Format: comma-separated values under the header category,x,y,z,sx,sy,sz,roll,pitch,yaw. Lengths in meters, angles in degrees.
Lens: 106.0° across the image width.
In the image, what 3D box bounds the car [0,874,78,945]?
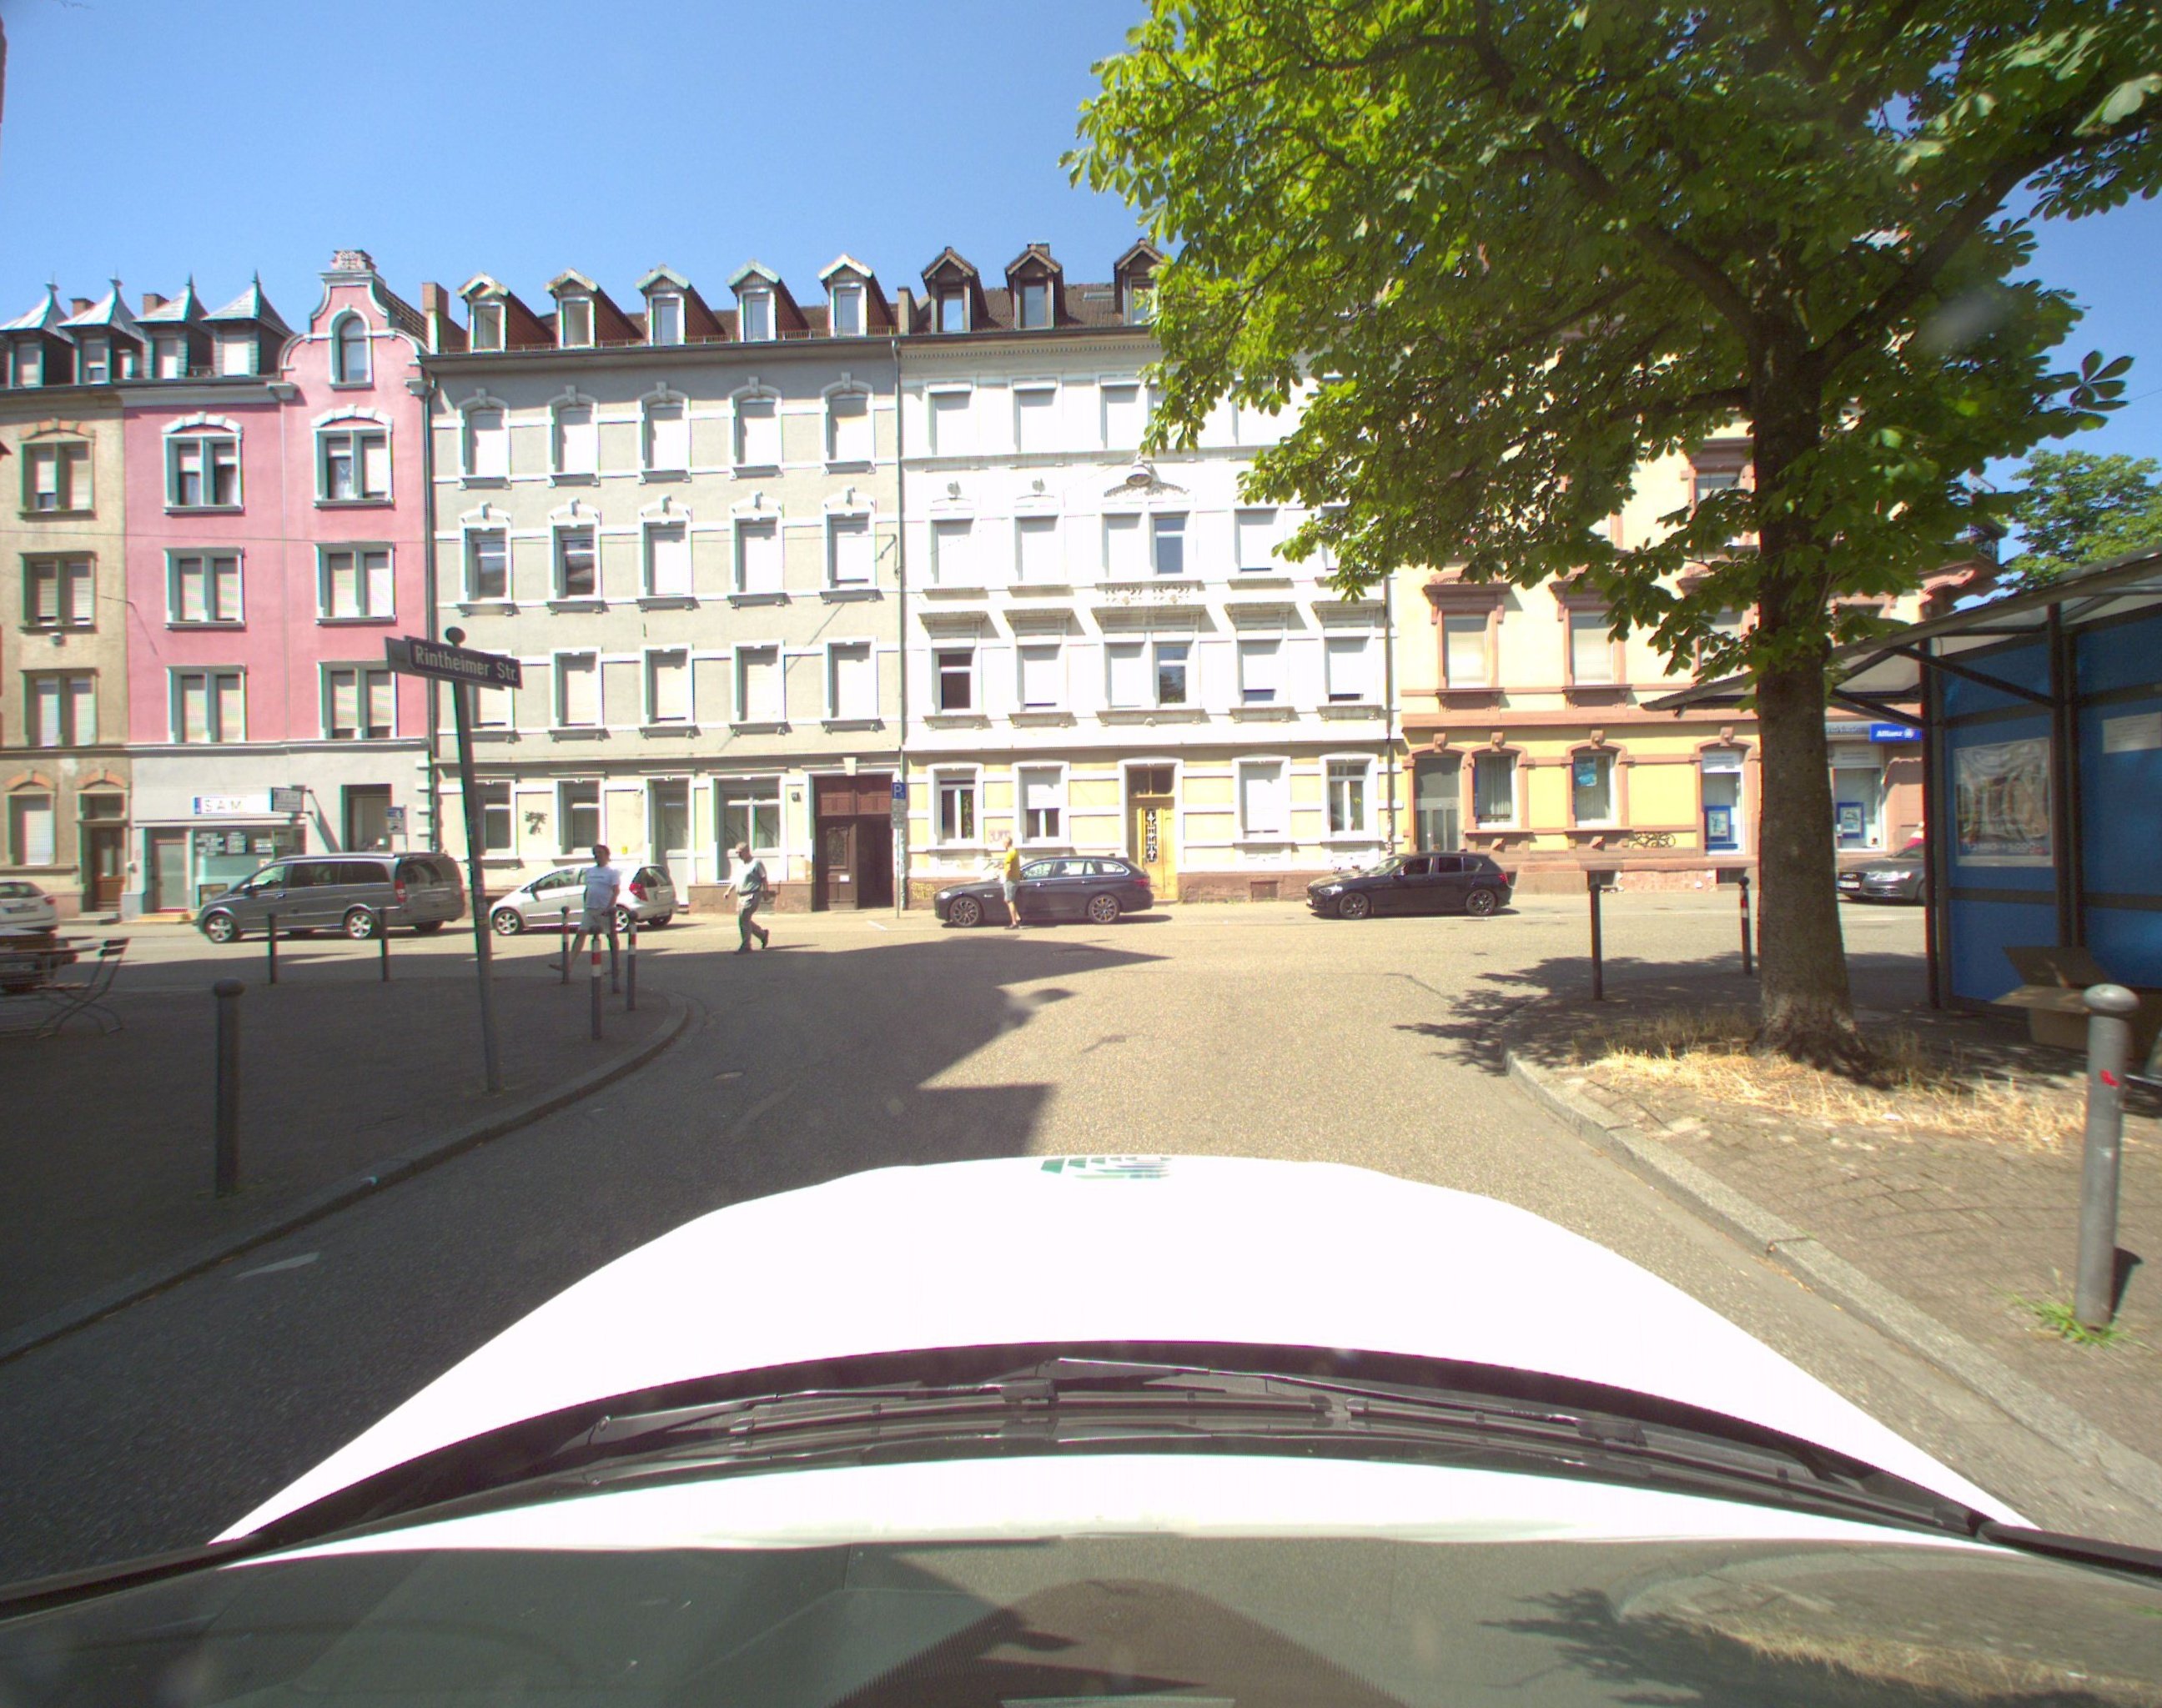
category,x,y,z,sx,sy,sz,roll,pitch,yaw
car,-26.890,1.364,19.396,3.819,1.582,1.723,-2,1,1

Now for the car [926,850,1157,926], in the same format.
category,x,y,z,sx,sy,sz,roll,pitch,yaw
car,-0.790,0.720,18.205,4.839,1.437,2.002,-2,0,3

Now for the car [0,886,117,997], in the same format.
category,x,y,z,sx,sy,sz,roll,pitch,yaw
car,-15.832,1.213,10.897,3.819,1.426,1.722,-2,-2,1

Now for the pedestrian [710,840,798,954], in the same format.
category,x,y,z,sx,sy,sz,roll,pitch,yaw
pedestrian,-5.456,0.694,13.611,0.893,1.814,0.966,-2,-1,25

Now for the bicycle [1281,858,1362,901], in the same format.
category,x,y,z,sx,sy,sz,roll,pitch,yaw
bicycle,6.348,0.670,21.560,1.998,1.021,0.424,-2,2,0

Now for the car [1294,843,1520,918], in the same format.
category,x,y,z,sx,sy,sz,roll,pitch,yaw
car,7.057,0.550,17.952,4.276,1.370,1.809,-2,2,3

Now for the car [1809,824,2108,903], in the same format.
category,x,y,z,sx,sy,sz,roll,pitch,yaw
car,18.822,0.185,17.633,4.404,1.455,1.808,-2,1,3

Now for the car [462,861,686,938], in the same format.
category,x,y,z,sx,sy,sz,roll,pitch,yaw
car,-11.678,1.022,18.938,4.031,1.562,1.808,-2,0,2

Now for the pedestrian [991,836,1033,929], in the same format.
category,x,y,z,sx,sy,sz,roll,pitch,yaw
pedestrian,-1.414,0.569,16.811,0.721,1.853,0.685,-2,-1,3

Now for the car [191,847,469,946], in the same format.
category,x,y,z,sx,sy,sz,roll,pitch,yaw
car,-17.312,0.933,18.926,4.687,1.997,1.878,-2,1,2

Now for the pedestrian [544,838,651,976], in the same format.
category,x,y,z,sx,sy,sz,roll,pitch,yaw
pedestrian,-6.913,0.732,11.676,0.842,1.889,0.940,-2,-1,21

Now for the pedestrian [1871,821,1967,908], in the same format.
category,x,y,z,sx,sy,sz,roll,pitch,yaw
pedestrian,20.319,0.239,19.767,1.225,2.014,1.051,-2,-1,-6
